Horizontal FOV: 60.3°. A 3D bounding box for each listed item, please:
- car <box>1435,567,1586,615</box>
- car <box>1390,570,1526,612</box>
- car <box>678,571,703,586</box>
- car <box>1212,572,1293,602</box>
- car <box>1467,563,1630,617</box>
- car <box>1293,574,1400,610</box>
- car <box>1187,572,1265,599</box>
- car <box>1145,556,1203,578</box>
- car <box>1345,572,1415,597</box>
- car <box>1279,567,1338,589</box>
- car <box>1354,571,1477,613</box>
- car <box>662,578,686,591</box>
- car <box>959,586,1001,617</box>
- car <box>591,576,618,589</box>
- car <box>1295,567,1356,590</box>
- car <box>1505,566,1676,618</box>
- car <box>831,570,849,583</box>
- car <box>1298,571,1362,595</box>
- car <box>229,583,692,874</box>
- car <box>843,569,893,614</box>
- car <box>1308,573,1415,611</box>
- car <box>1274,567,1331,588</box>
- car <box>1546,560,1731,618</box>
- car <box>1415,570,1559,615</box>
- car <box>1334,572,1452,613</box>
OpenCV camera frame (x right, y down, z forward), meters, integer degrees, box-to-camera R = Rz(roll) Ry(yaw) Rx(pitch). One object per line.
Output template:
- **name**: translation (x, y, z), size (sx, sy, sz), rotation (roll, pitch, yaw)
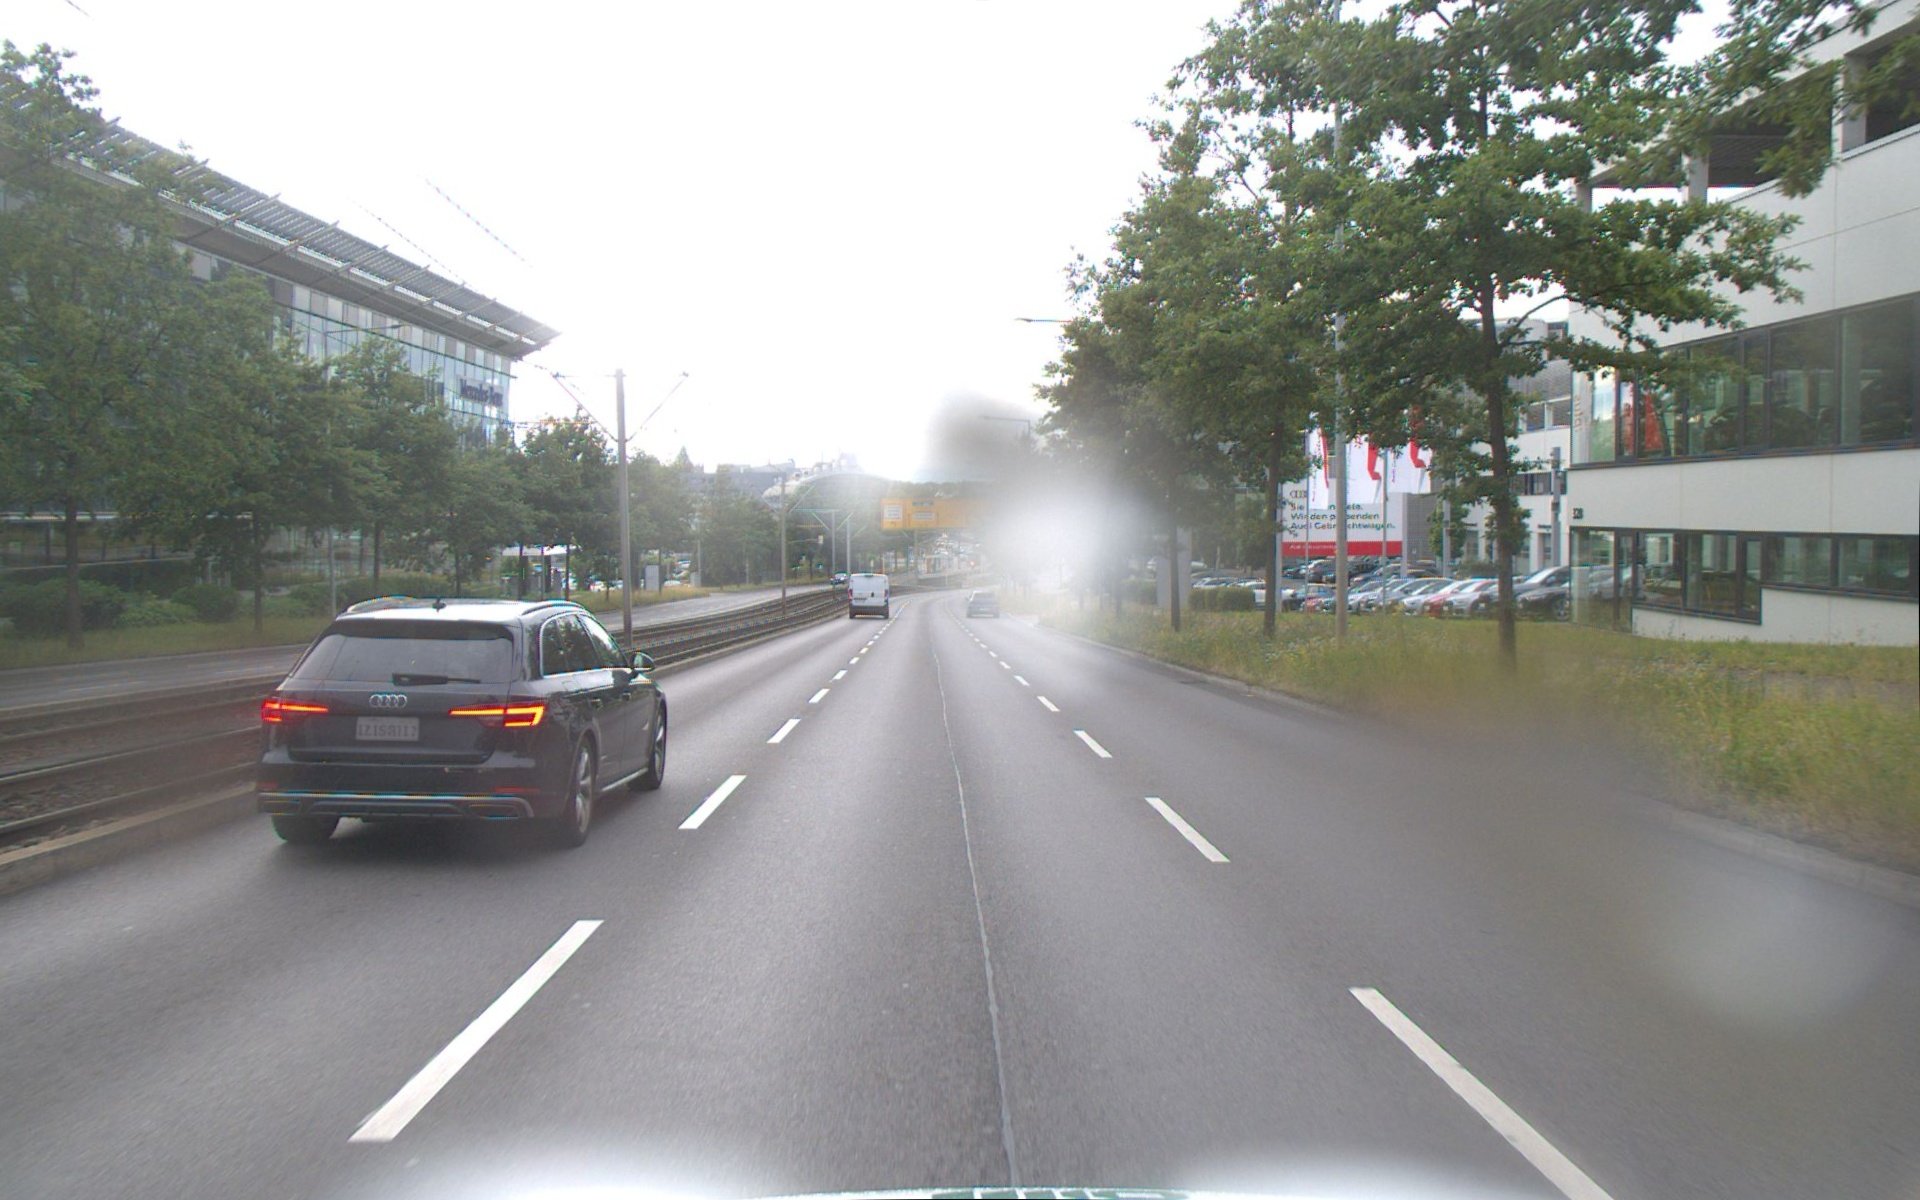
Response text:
- **car**: translation (18.050, -0.275, 54.333), size (4.308, 1.452, 1.890), rotation (-1, 0, -2)
- **car**: translation (18.167, -0.318, 60.422), size (4.371, 1.481, 1.930), rotation (-1, 0, -2)
- **car**: translation (-30.900, -2.461, 189.772), size (1.952, 1.679, 4.002), rotation (1, 0, 4)
- **car**: translation (16.217, -0.705, 91.656), size (4.030, 1.622, 1.944), rotation (0, -1, -10)
- **car**: translation (18.232, -0.305, 51.358), size (4.308, 1.527, 2.039), rotation (-1, 0, -2)
- **car**: translation (17.534, -0.368, 75.164), size (4.375, 1.578, 1.928), rotation (-1, 0, -6)
- **car**: translation (16.288, -0.901, 101.349), size (4.429, 1.622, 1.692), rotation (0, 0, -3)
- **car**: translation (16.415, -2.521, 126.943), size (4.174, 1.601, 1.692), rotation (1, 1, -3)
- **car**: translation (27.131, -0.989, 106.924), size (4.023, 1.601, 1.692), rotation (0, 0, -3)
- **car**: translation (26.258, -1.689, 124.588), size (4.023, 1.601, 1.759), rotation (1, 1, -3)
- **car**: translation (18.205, -0.317, 66.258), size (4.372, 1.555, 1.930), rotation (-1, 0, -2)
- **car**: translation (-35.415, -1.913, 204.690), size (1.969, 1.536, 3.966), rotation (1, 0, -26)
- **car**: translation (1.072, 0.088, 90.819), size (1.981, 1.651, 3.997), rotation (1, 0, -4)
- **car**: translation (-43.245, -2.089, 201.160), size (1.975, 1.536, 3.955), rotation (1, 0, -32)
- **car**: translation (26.395, -1.550, 119.520), size (4.023, 1.601, 1.692), rotation (1, 1, -3)
- **car**: translation (18.268, -0.234, 48.032), size (4.234, 1.402, 1.835), rotation (-1, 0, -4)
- **car**: translation (-15.479, -3.094, 214.155), size (1.844, 1.547, 4.404), rotation (-3, 1, 1)
- **car**: translation (25.535, -1.188, 114.253), size (4.023, 1.601, 1.825), rotation (1, 1, -3)
- **car**: translation (-2.986, 0.650, 10.970), size (1.728, 1.489, 4.625), rotation (1, 1, -1)
- **car**: translation (-4.786, -0.414, 86.064), size (2.461, 2.215, 5.145), rotation (1, 0, -4)
- **car**: translation (17.469, -0.345, 72.044), size (4.192, 1.621, 1.825), rotation (-1, 0, -4)
- **car**: translation (26.366, -1.747, 127.318), size (4.023, 1.601, 1.692), rotation (1, 1, -3)
- **car**: translation (18.641, -0.302, 45.588), size (4.309, 1.507, 1.930), rotation (-1, 0, -2)
- **car**: translation (18.198, -0.247, 57.205), size (4.309, 1.372, 1.930), rotation (-2, -1, -3)
- **car**: translation (18.092, -0.296, 69.237), size (4.372, 1.578, 1.930), rotation (-1, 0, -2)
